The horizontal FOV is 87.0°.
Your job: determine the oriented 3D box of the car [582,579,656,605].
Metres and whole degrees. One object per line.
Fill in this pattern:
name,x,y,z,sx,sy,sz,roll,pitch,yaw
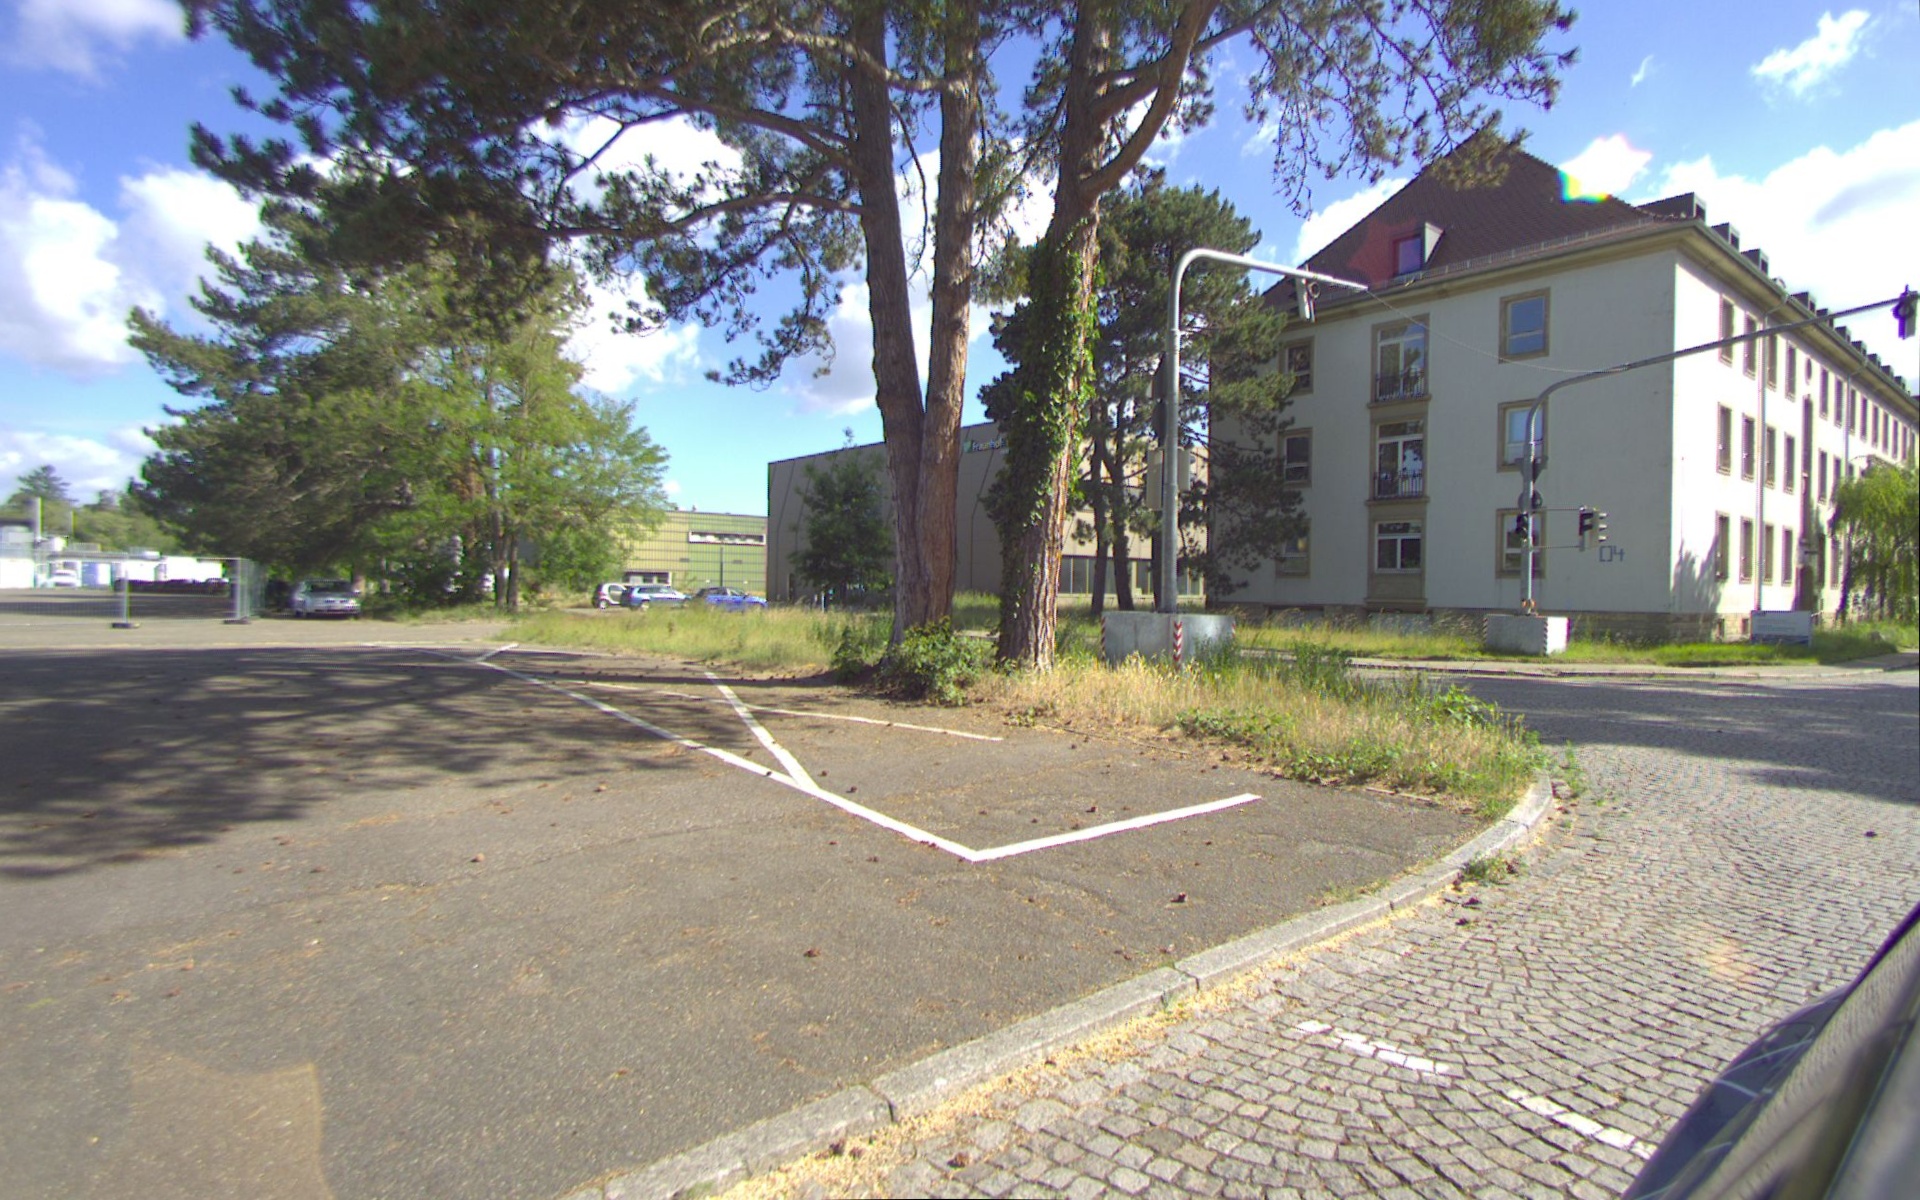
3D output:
car,-22.002,-0.513,65.392,4.151,1.584,1.779,1,0,-40

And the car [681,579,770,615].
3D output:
car,-11.968,-0.195,51.706,3.987,1.583,1.861,-4,3,-37

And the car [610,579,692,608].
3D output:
car,-17.990,-0.367,58.995,4.151,1.584,1.859,1,-2,-40

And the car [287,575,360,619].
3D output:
car,-22.711,-0.131,36.045,1.714,1.440,3.996,2,0,-39
